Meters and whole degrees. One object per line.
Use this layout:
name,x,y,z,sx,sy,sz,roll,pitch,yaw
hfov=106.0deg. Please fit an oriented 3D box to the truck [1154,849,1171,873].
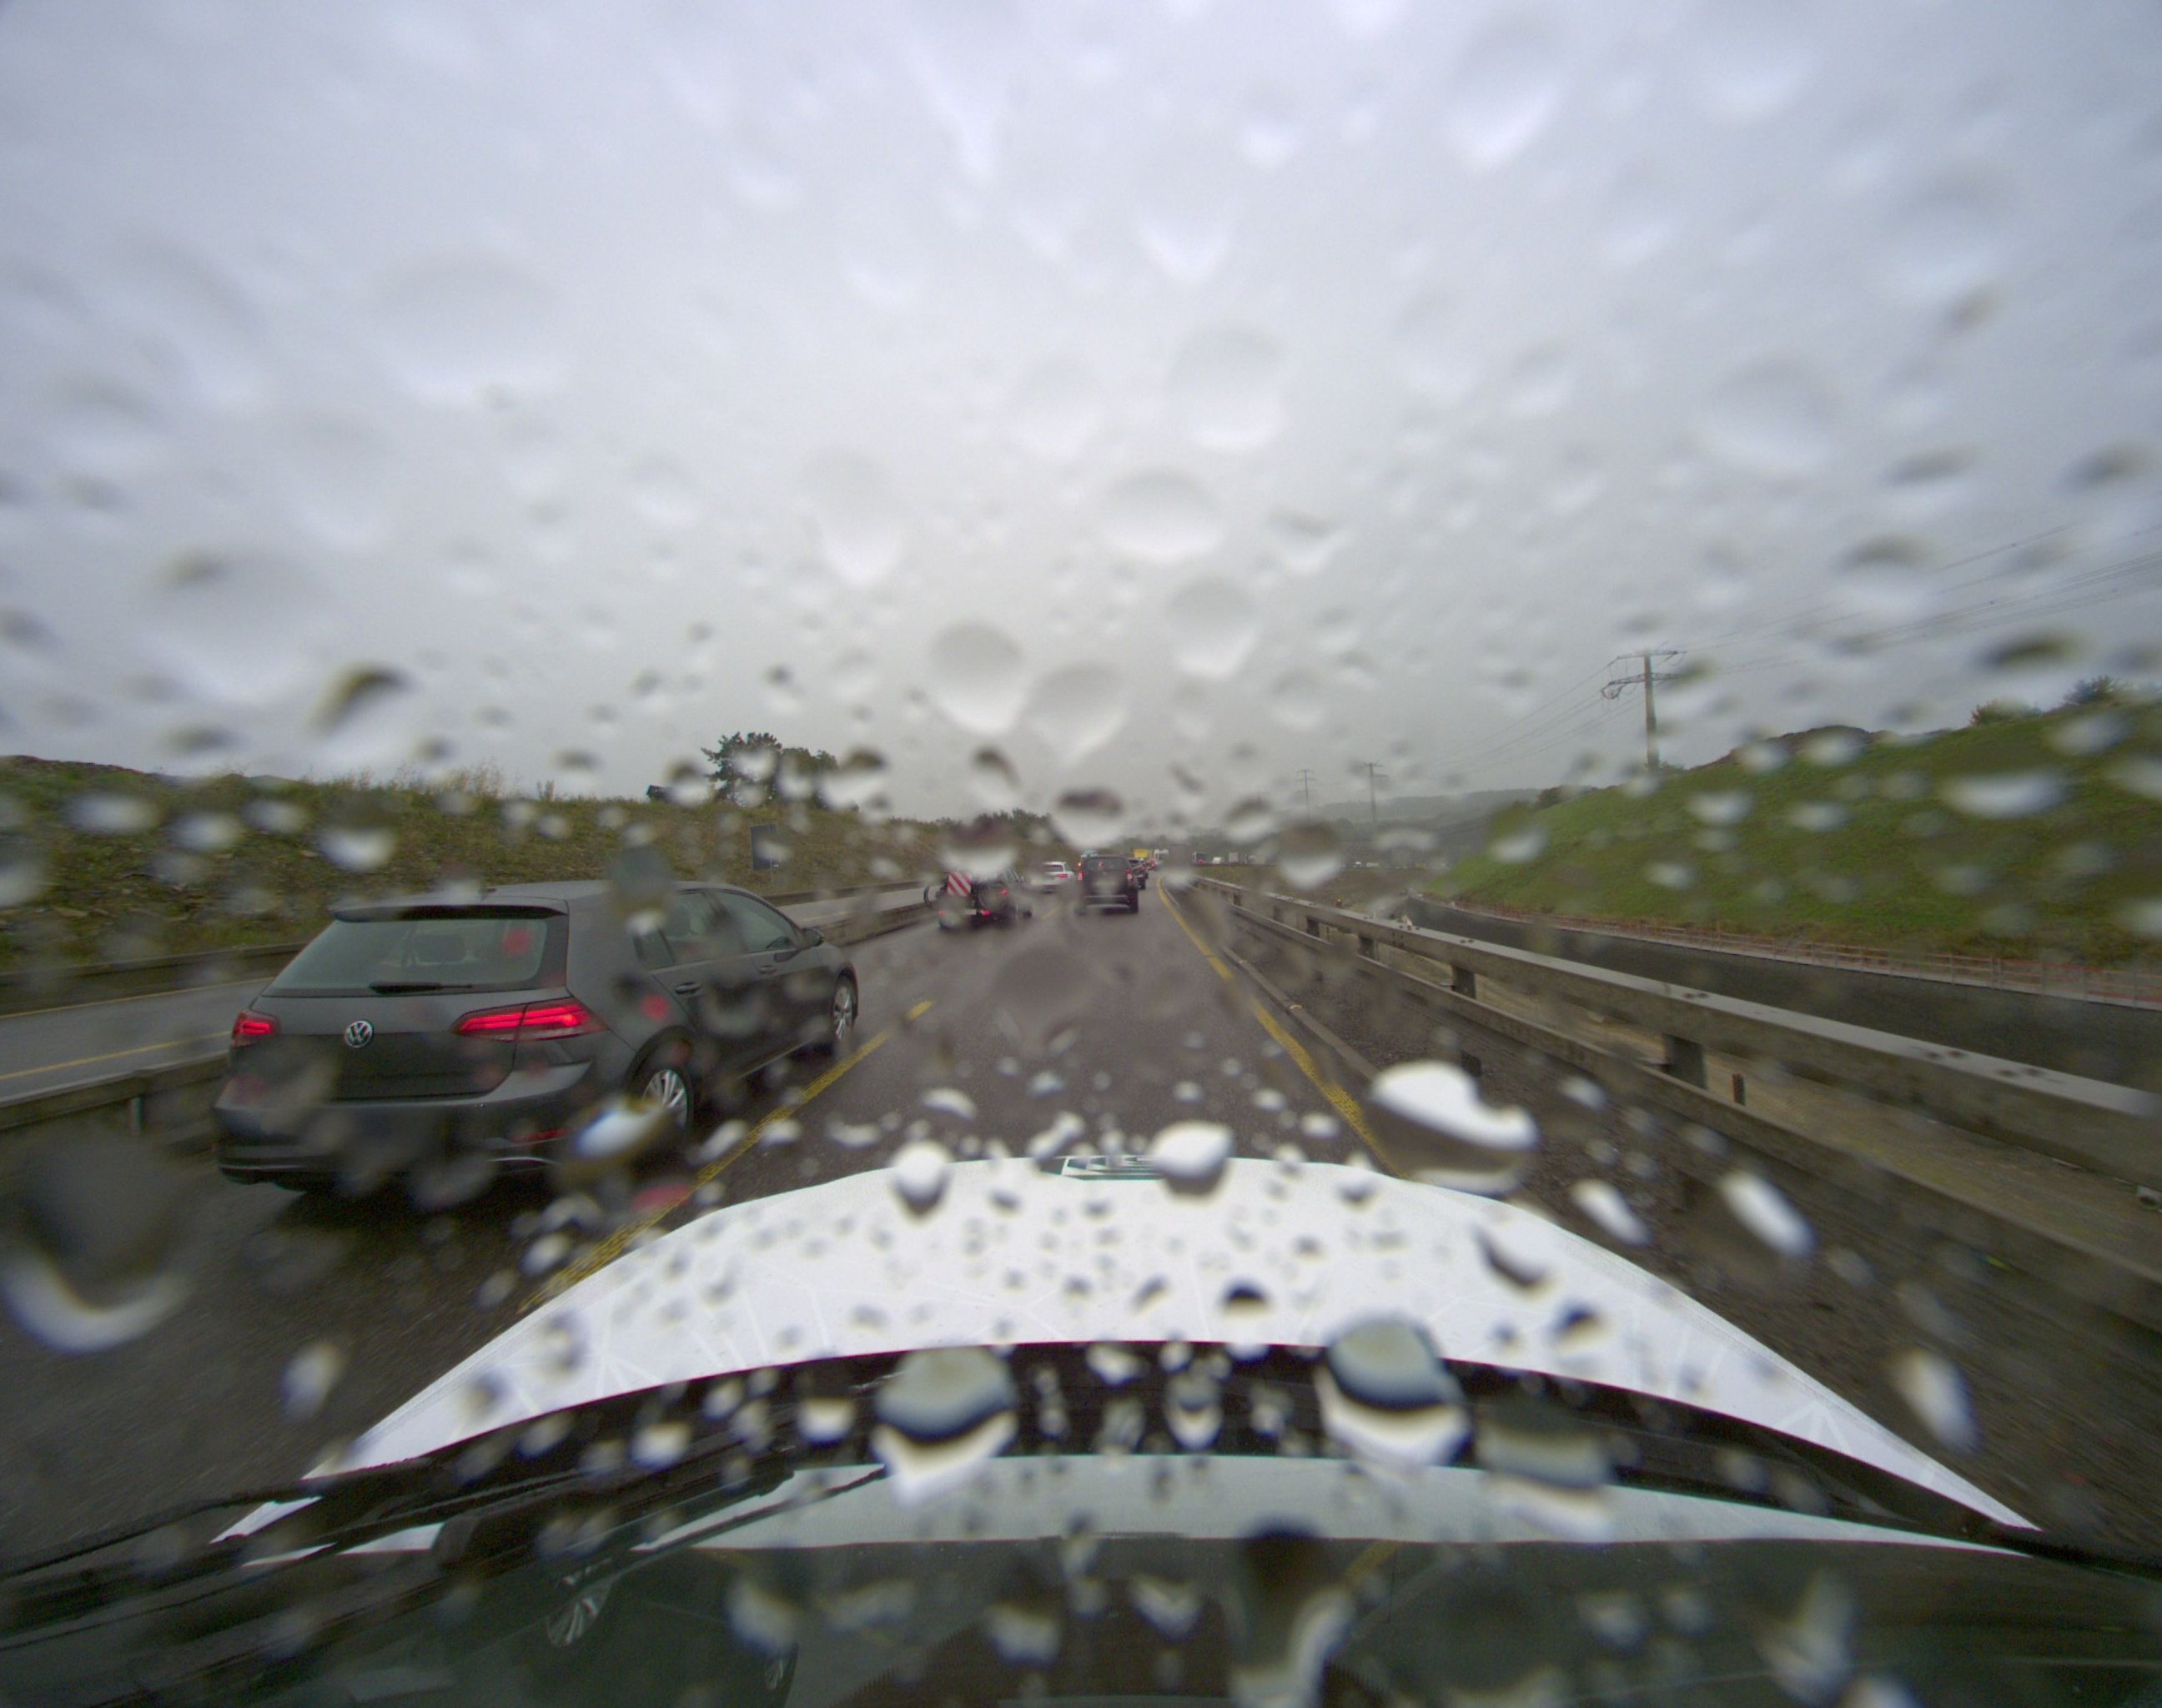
truck,10.686,0.909,106.926,2.139,3.166,6.468,0,0,5

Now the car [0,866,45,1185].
car,-6.728,0.876,1.916,2.036,1.633,4.994,-1,-1,4

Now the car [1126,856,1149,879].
car,4.186,0.992,61.066,1.525,1.640,4.013,0,0,1

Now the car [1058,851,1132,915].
car,0.489,0.788,23.302,1.796,1.646,3.782,-1,-1,5

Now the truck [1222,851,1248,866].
truck,43.475,1.304,229.356,4.677,4.150,15.762,0,0,21

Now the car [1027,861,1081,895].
car,-1.191,1.068,37.845,1.858,1.460,4.556,0,0,6

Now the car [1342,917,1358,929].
car,54.466,13.970,164.678,2.352,2.014,4.008,0,0,7

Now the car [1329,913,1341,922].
car,56.955,14.305,182.645,1.981,1.816,4.010,-1,-1,10

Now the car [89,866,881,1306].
car,-2.713,0.875,5.139,1.608,1.506,4.370,-2,-1,2

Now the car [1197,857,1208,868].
car,22.203,1.595,148.994,1.764,1.916,4.012,0,0,11

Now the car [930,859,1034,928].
car,-2.283,0.889,19.682,1.821,1.476,3.779,-1,-1,3

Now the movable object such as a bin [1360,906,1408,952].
movable object such as a bin,28.768,7.056,77.463,3.199,3.867,4.128,1,0,5

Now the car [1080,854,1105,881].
car,0.863,0.978,59.053,1.653,1.880,4.023,0,0,3

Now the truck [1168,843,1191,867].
truck,16.244,0.206,134.153,3.180,3.761,8.534,0,0,11

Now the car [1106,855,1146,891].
car,2.269,0.902,40.498,1.859,1.708,4.005,0,0,4

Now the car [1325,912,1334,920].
car,70.687,17.528,231.630,1.977,2.014,4.020,0,0,20

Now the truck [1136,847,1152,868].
truck,12.789,0.681,164.529,2.752,3.996,8.441,-1,-1,8
